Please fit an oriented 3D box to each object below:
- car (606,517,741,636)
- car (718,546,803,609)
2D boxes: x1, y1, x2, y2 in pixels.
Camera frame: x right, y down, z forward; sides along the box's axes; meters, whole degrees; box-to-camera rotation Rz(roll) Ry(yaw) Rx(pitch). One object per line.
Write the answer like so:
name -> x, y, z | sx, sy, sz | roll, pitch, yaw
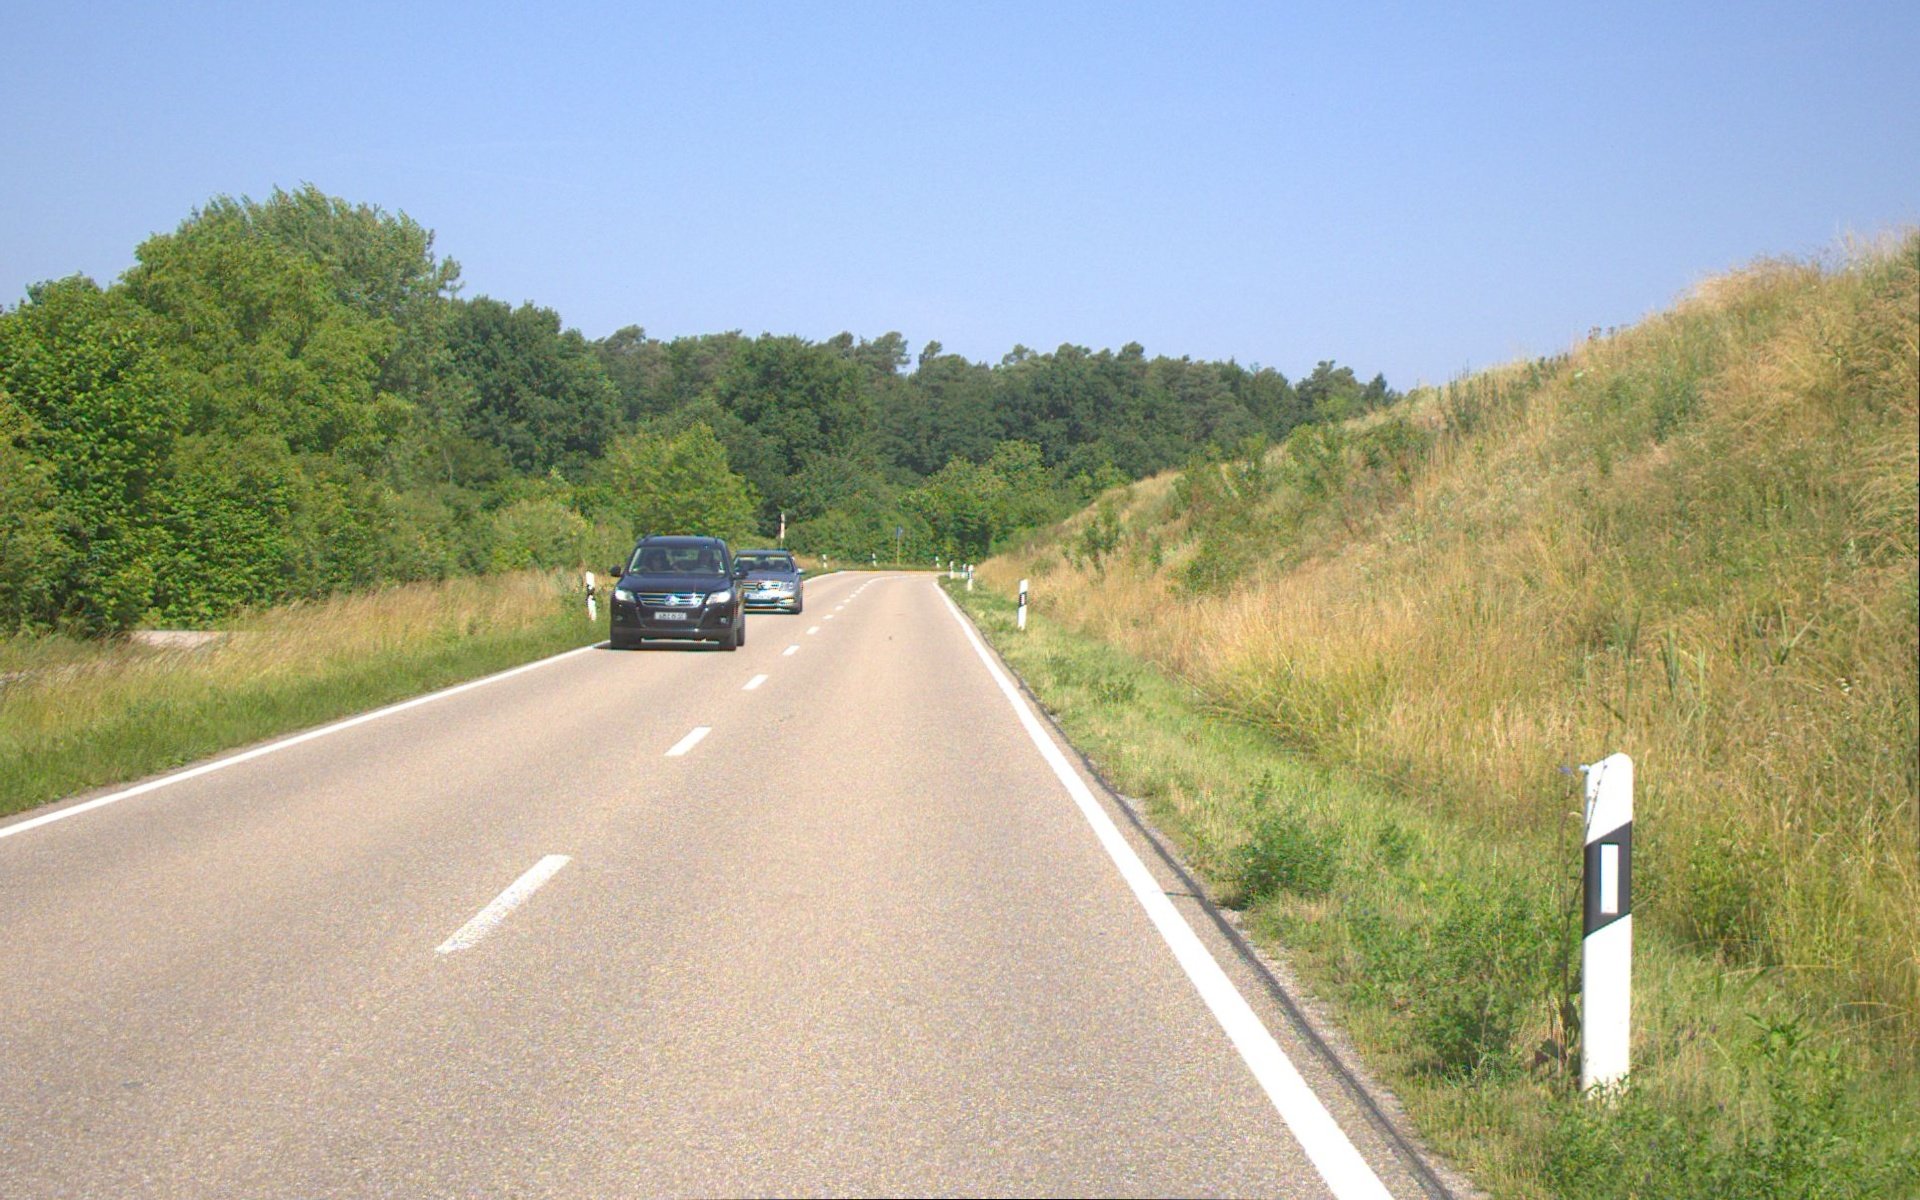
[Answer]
car -> -4.153, -0.362, 50.354 | 1.716, 1.641, 3.915 | 1, 1, -1
car -> -4.502, -0.509, 77.843 | 1.722, 1.349, 4.000 | 2, 0, -1
